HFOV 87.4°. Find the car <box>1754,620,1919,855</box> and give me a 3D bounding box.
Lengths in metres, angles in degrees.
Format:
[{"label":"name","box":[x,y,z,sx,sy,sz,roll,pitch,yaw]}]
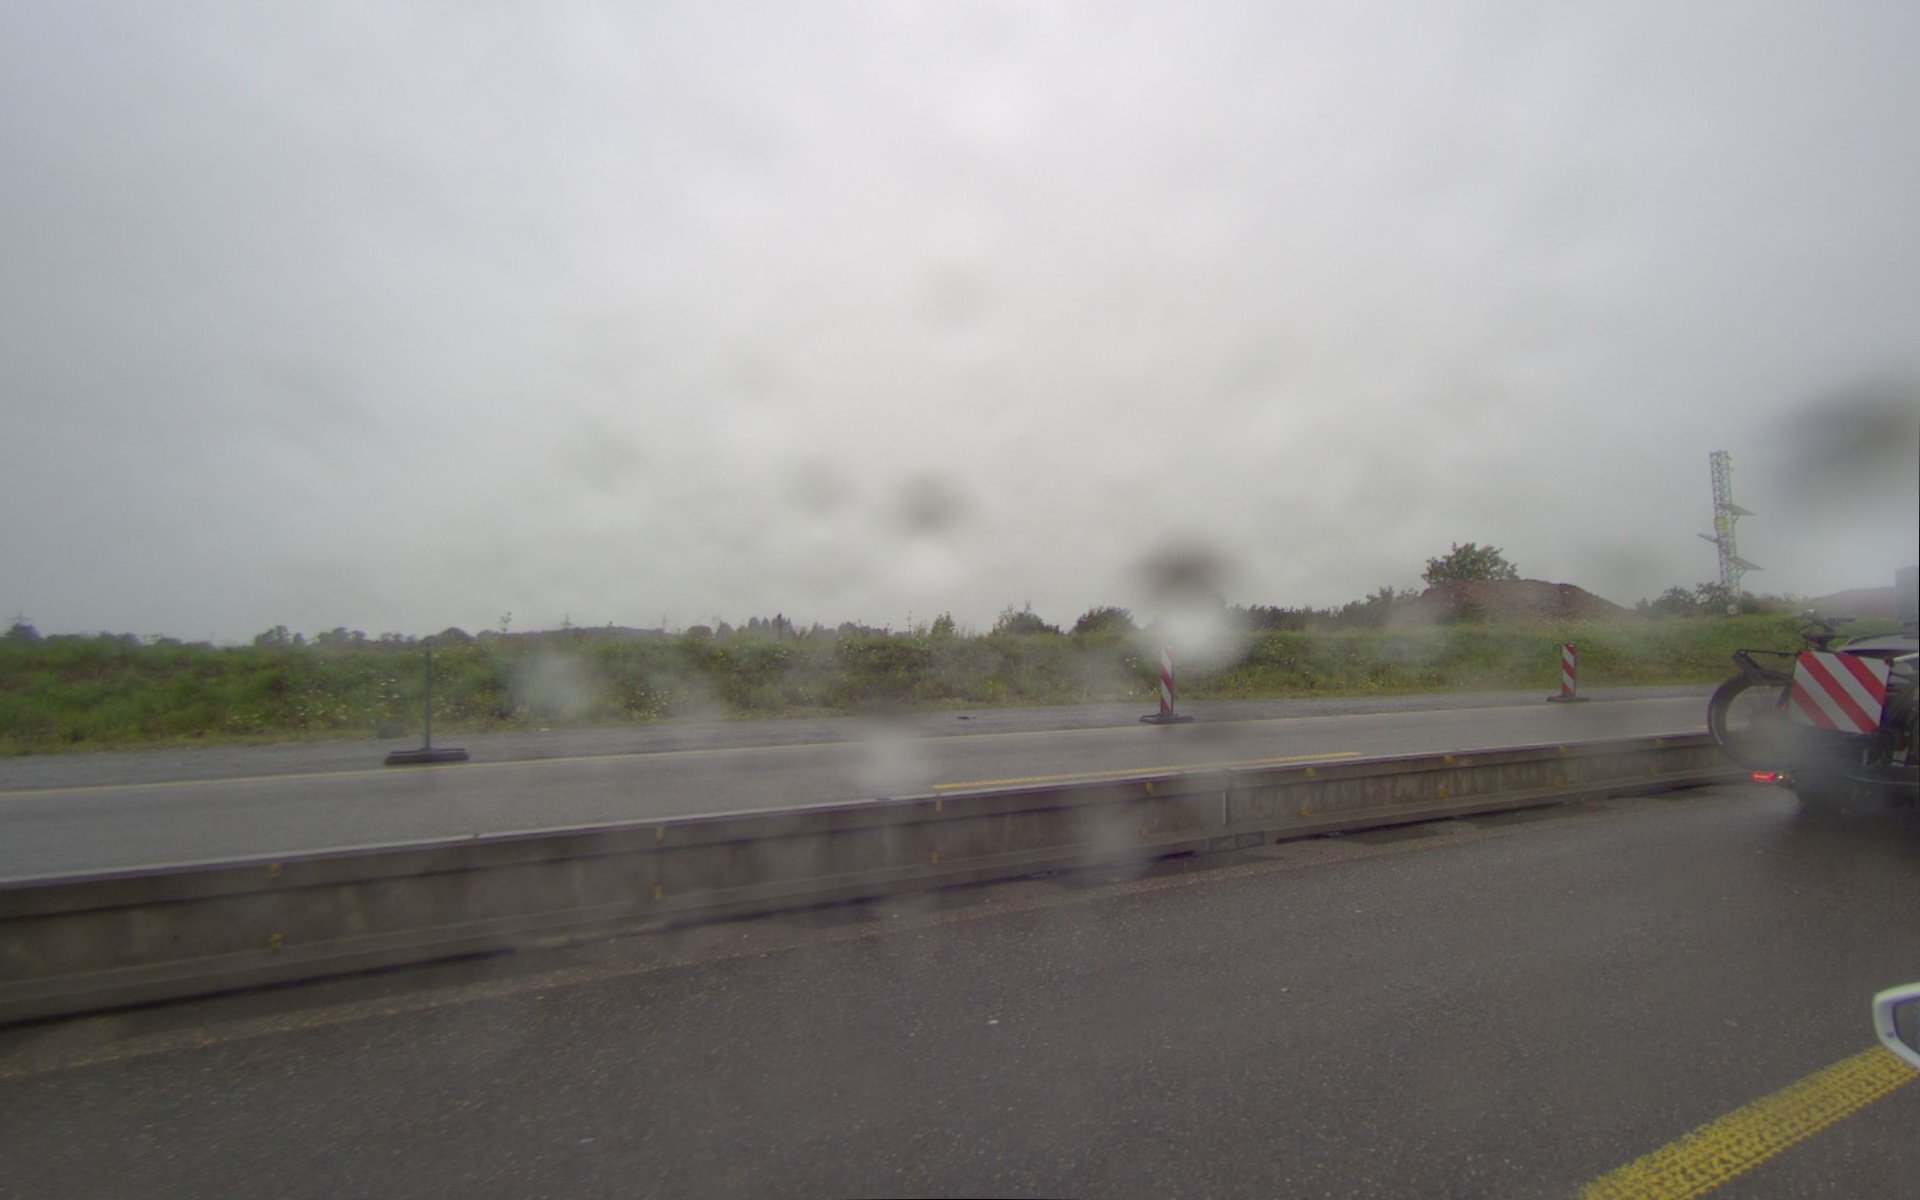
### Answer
[{"label":"car","box":[8.670,0.913,8.007,5.561,1.482,1.727,0,0,-30]}]
